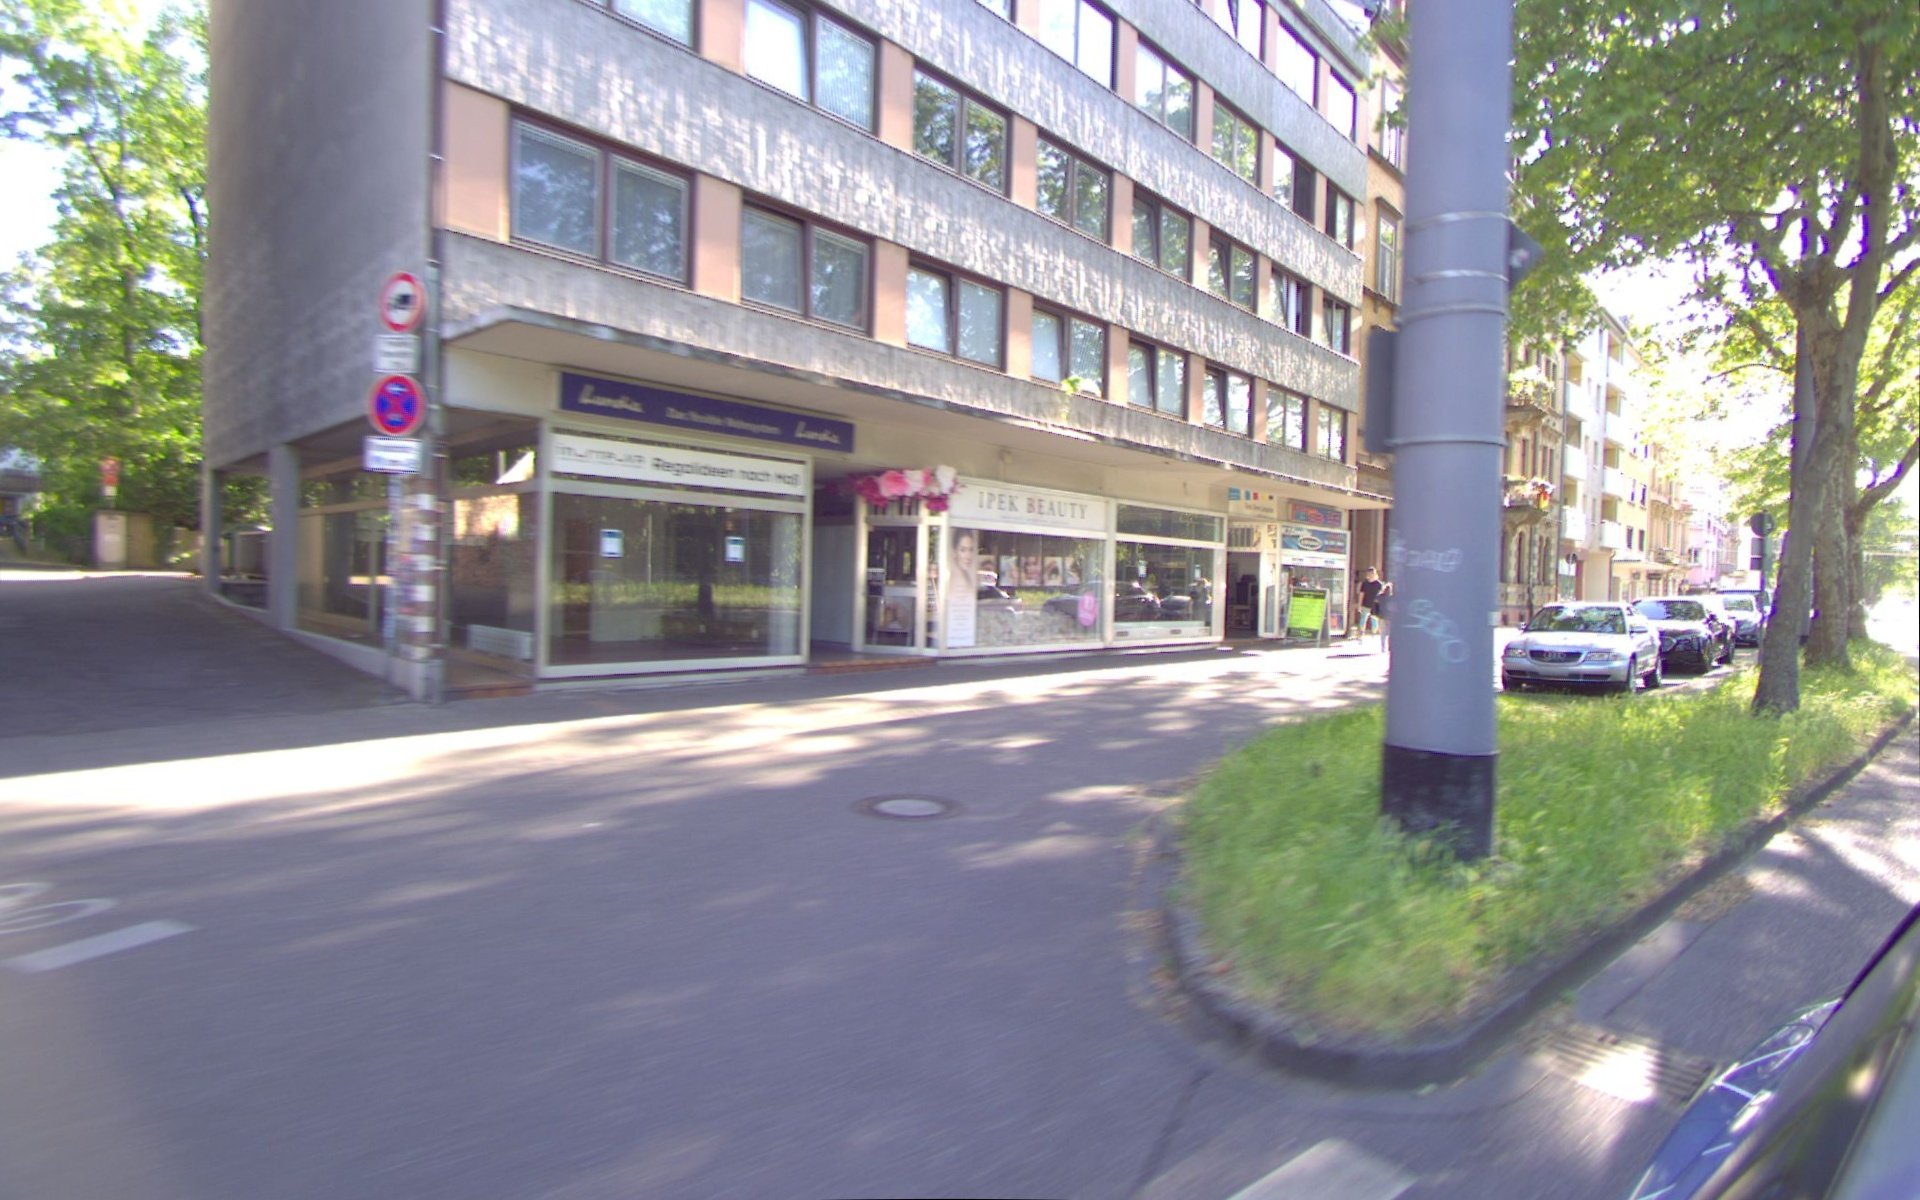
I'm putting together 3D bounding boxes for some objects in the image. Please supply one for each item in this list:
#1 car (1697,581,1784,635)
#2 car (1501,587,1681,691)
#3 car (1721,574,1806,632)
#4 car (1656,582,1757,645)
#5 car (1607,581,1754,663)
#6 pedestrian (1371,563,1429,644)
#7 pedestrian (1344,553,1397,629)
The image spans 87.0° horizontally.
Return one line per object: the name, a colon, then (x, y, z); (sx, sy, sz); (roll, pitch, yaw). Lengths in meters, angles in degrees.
car: (23.838, 0.204, 30.856); (1.704, 1.521, 4.290); (0, 0, 43)
car: (10.209, 0.538, 16.225); (1.699, 1.442, 4.448); (0, 0, 42)
car: (27.491, 0.092, 34.573); (1.865, 1.839, 4.723); (0, 0, 44)
car: (19.357, 0.287, 26.175); (1.676, 1.485, 4.599); (0, 1, 42)
car: (15.122, 0.374, 21.132); (1.806, 1.508, 4.841); (0, 1, 44)
pedestrian: (9.887, 0.080, 22.744); (0.999, 1.783, 0.704); (-1, -1, 44)
pedestrian: (10.365, -0.235, 25.549); (0.703, 1.863, 1.000); (0, 1, -45)
